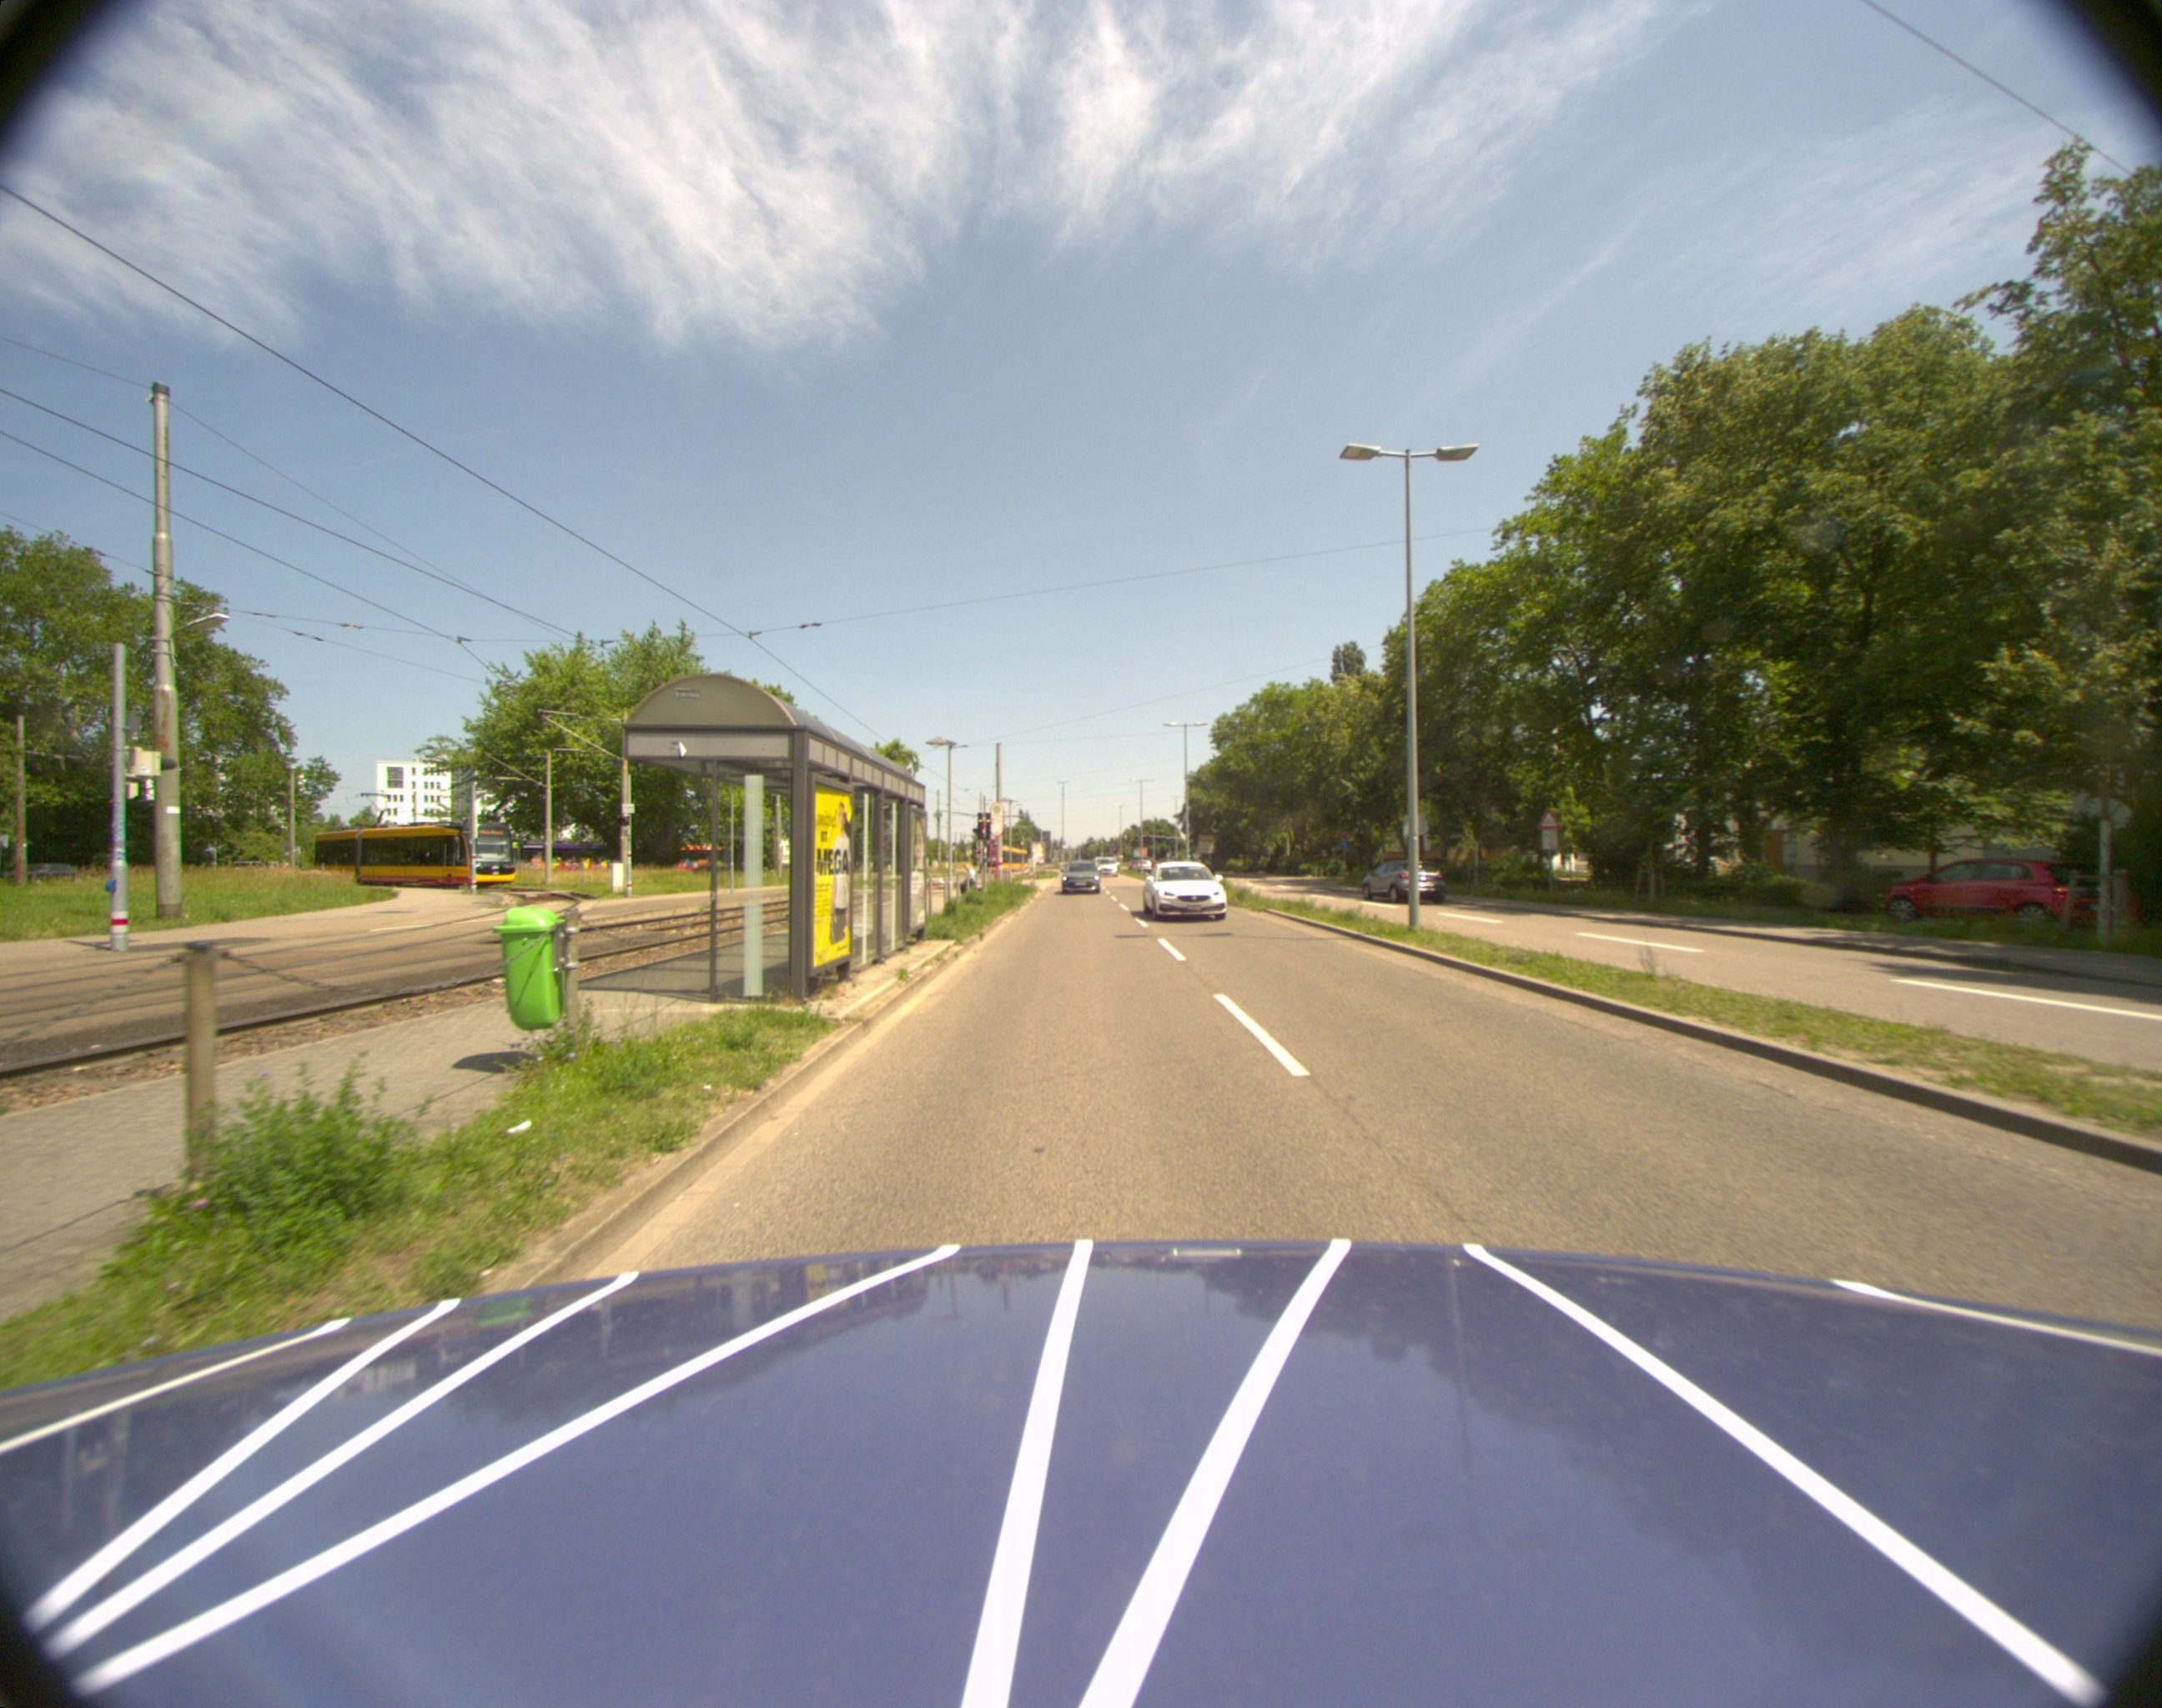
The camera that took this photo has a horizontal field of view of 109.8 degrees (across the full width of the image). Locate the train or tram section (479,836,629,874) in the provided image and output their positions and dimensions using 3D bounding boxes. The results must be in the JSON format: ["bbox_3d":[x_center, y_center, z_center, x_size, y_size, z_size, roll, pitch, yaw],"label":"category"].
[{"bbox_3d":[-54.954,-0.027,80.013,2.709,3.628,13.273,-1,1,26],"label":"train or tram section"}]

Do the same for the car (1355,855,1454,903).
[{"bbox_3d":[11.760,0.857,27.919,1.772,1.545,4.082,2,1,-1],"label":"car"}]

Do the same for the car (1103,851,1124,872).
[{"bbox_3d":[3.148,0.721,73.905,1.998,2.002,4.000,0,0,2],"label":"car"}]

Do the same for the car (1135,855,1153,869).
[{"bbox_3d":[7.614,0.946,92.465,1.816,1.631,3.999,-2,1,0],"label":"car"}]

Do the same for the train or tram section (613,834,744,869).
[{"bbox_3d":[-47.147,-0.377,89.434,13.275,3.628,2.708,-2,1,-37],"label":"train or tram section"}]

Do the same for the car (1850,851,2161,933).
[{"bbox_3d":[19.955,0.750,16.720,1.998,1.575,4.000,0,0,0],"label":"car"}]

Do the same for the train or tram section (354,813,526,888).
[{"bbox_3d":[-35.231,-0.098,41.464,13.150,3.628,2.720,-1,1,30],"label":"train or tram section"}]

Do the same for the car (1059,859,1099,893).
[{"bbox_3d":[-0.036,1.026,37.067,1.787,1.554,4.136,0,0,2],"label":"car"}]

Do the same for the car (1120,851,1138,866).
[{"bbox_3d":[6.626,0.588,105.224,1.999,2.002,3.999,0,0,-3],"label":"car"}]

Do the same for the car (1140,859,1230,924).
[{"bbox_3d":[2.644,0.906,20.138,1.772,1.460,4.111,-2,0,0],"label":"car"}]

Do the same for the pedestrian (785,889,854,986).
[{"bbox_3d":[-2.956,0.926,8.619,0.577,1.034,0.579,0,0,0],"label":"pedestrian"}]

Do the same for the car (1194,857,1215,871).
[{"bbox_3d":[14.287,1.134,87.942,1.744,1.499,4.635,0,0,2],"label":"car"}]

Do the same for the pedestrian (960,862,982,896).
[{"bbox_3d":[-3.769,0.863,26.061,0.611,1.122,0.621,-2,1,-1],"label":"pedestrian"}]

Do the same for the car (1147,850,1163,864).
[{"bbox_3d":[10.581,0.450,108.764,1.998,2.002,4.001,0,0,3],"label":"car"}]

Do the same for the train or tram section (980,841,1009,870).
[{"bbox_3d":[-10.446,0.142,92.246,2.524,3.304,7.259,0,1,1],"label":"train or tram section"}]

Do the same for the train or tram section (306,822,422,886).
[{"bbox_3d":[-45.889,0.057,48.378,13.214,3.628,2.721,-1,1,35],"label":"train or tram section"}]
